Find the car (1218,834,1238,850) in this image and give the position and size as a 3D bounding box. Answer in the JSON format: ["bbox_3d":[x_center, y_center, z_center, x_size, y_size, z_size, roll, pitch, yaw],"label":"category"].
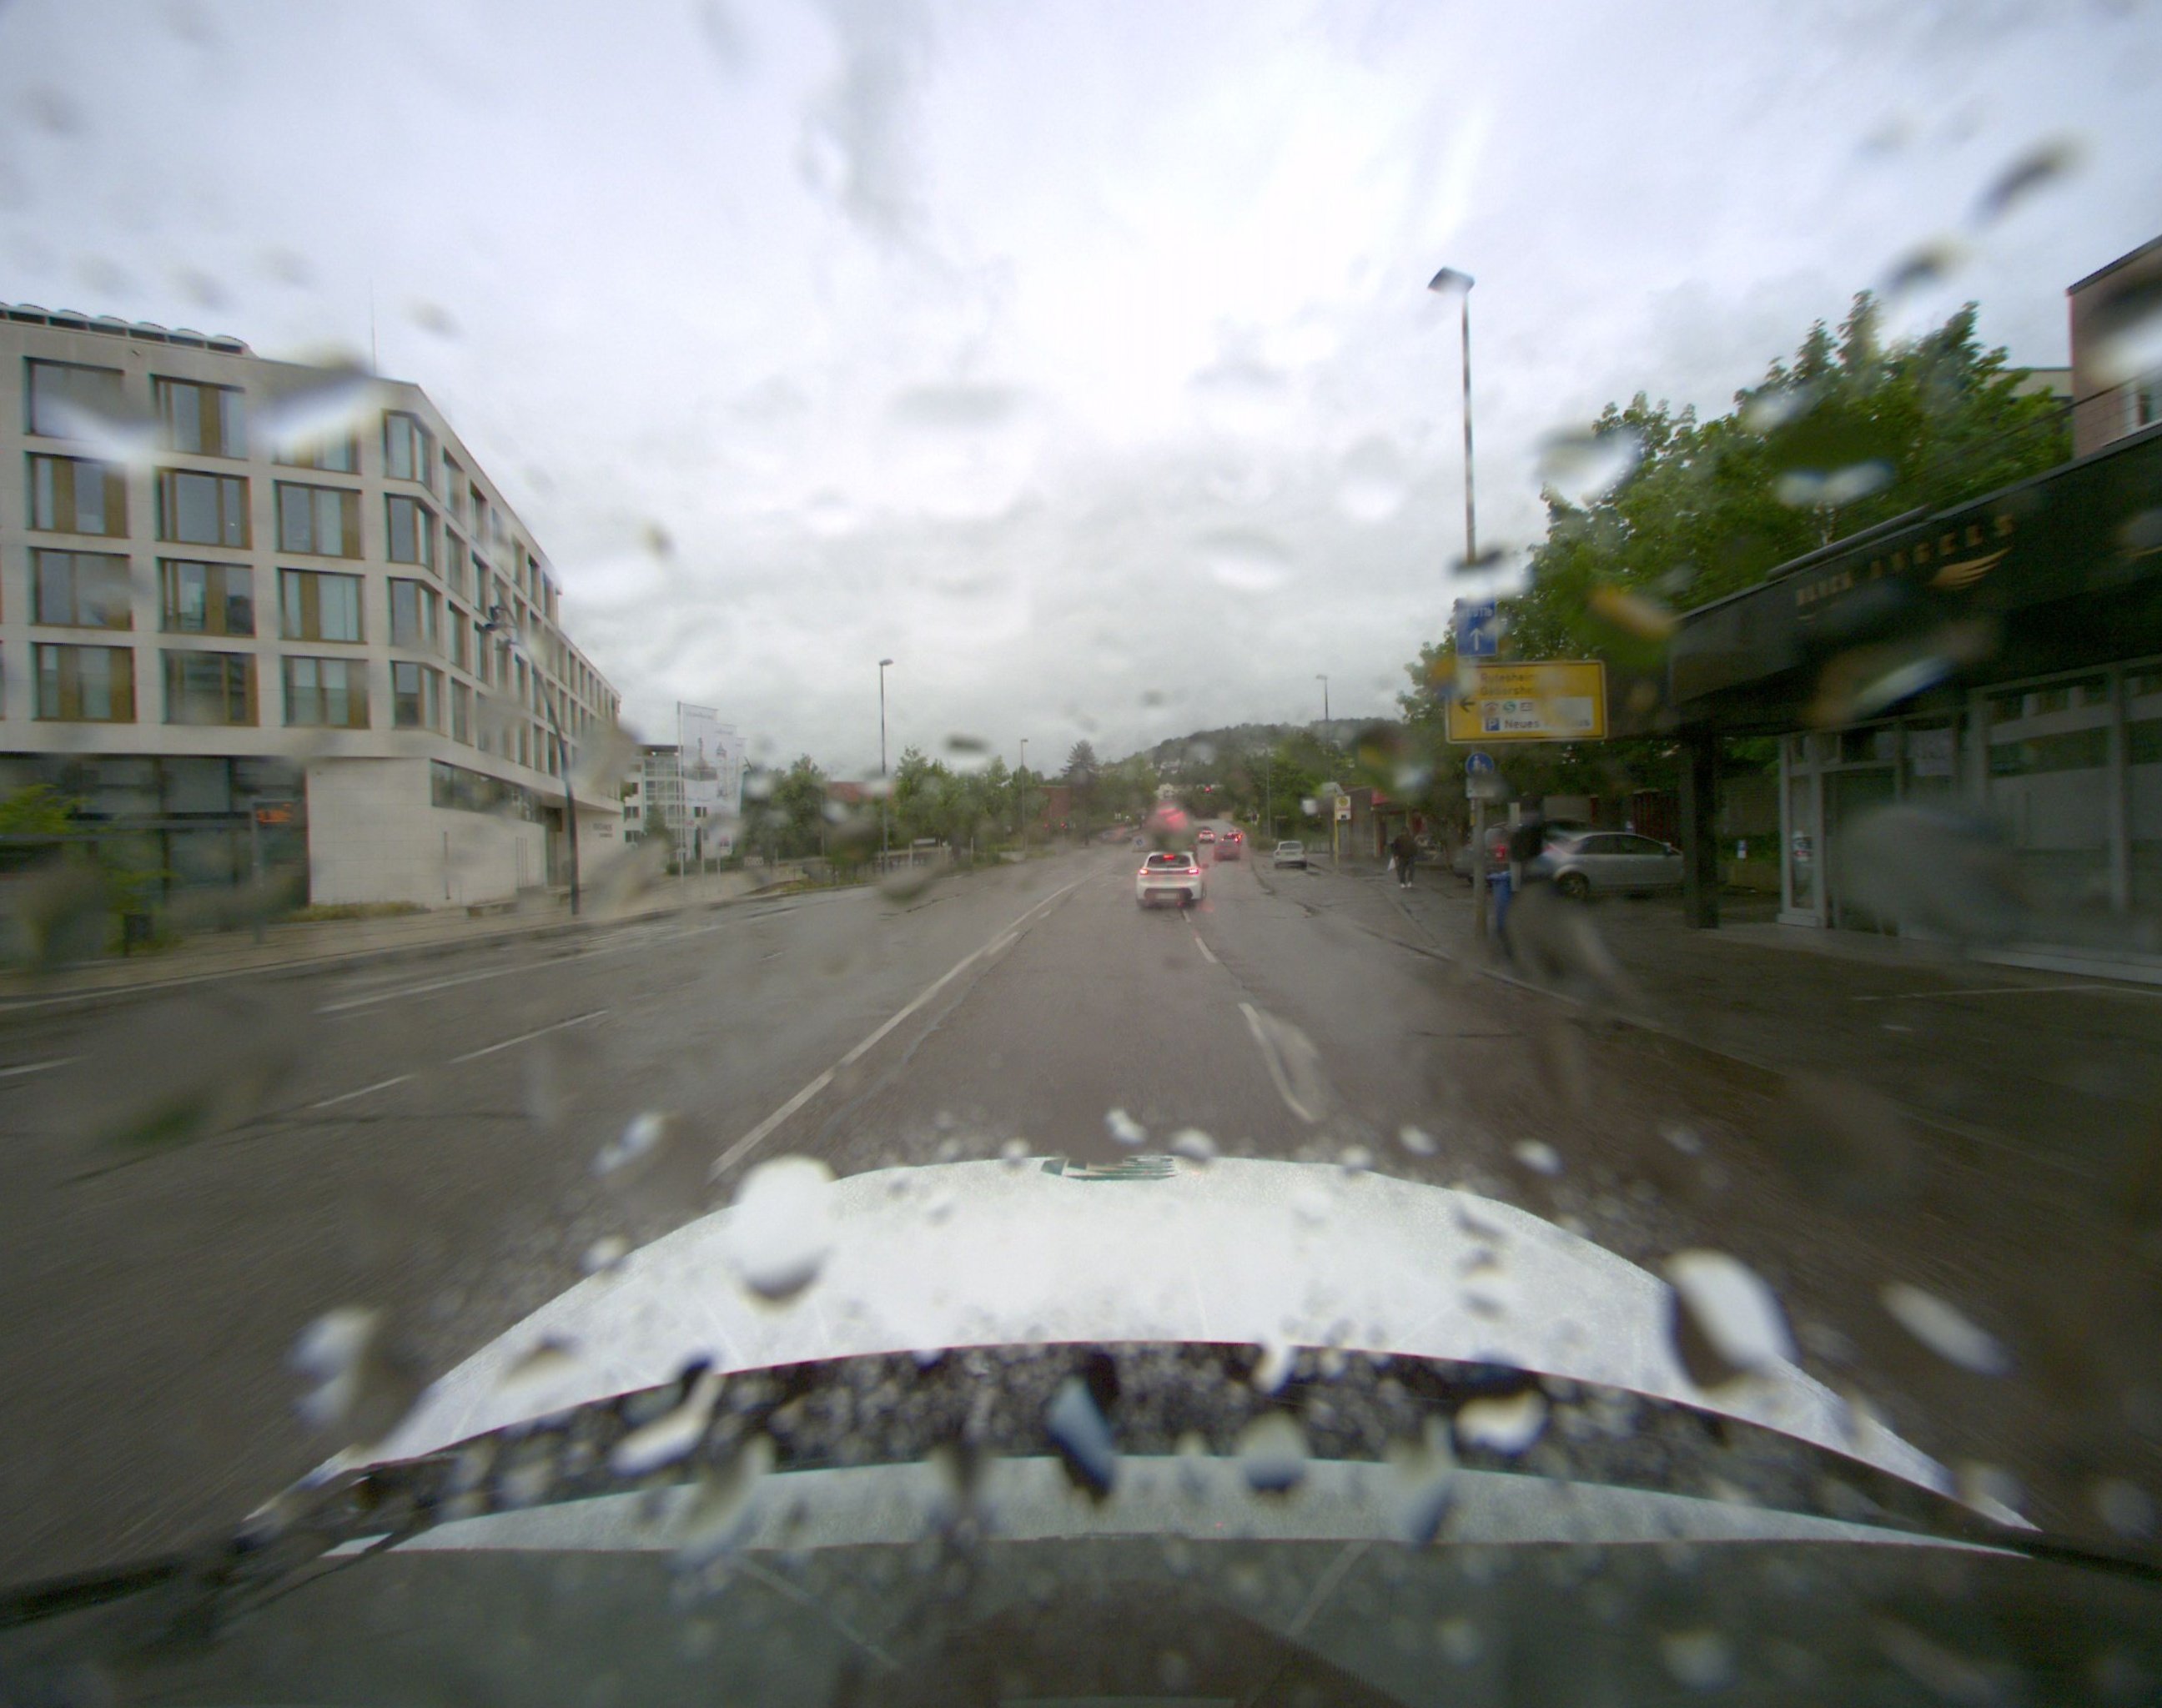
[{"bbox_3d":[15.542,-1.277,86.175,1.641,1.485,3.367,-2,-1,2],"label":"car"}]

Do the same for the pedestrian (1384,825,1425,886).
[{"bbox_3d":[9.804,0.050,24.704,0.711,1.821,0.790,-2,-2,-25],"label":"pedestrian"}]

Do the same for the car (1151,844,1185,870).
[{"bbox_3d":[4.813,0.162,44.670,1.732,1.295,3.340,-2,0,7],"label":"car"}]

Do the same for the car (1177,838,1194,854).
[{"bbox_3d":[8.198,-0.601,64.050,1.207,1.156,2.272,-2,-1,4],"label":"car"}]

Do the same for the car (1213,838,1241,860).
[{"bbox_3d":[10.895,-0.394,60.904,1.725,1.387,3.358,0,3,5],"label":"car"}]

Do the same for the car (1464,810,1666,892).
[{"bbox_3d":[12.479,-0.076,21.237,4.074,1.871,1.880,-3,0,6],"label":"car"}]

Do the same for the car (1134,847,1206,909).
[{"bbox_3d":[2.502,0.568,22.154,1.680,1.519,3.944,0,1,10],"label":"car"}]

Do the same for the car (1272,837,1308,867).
[{"bbox_3d":[11.599,-0.151,45.403,1.719,1.497,4.497,-3,1,13],"label":"car"}]

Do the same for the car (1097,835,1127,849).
[{"bbox_3d":[4.030,-1.572,106.908,3.530,1.569,1.786,-2,-2,-24],"label":"car"}]

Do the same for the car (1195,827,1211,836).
[{"bbox_3d":[17.740,-3.236,118.285,1.353,1.157,2.442,-3,-1,31],"label":"car"}]

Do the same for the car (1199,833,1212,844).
[{"bbox_3d":[15.268,-1.887,99.740,1.378,1.126,2.614,-3,-1,6],"label":"car"}]

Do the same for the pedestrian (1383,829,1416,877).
[{"bbox_3d":[11.940,-0.038,30.532,0.871,1.736,0.760,-3,1,3],"label":"pedestrian"}]

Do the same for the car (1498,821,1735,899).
[{"bbox_3d":[11.596,0.123,17.860,3.967,1.447,1.749,-3,0,6],"label":"car"}]

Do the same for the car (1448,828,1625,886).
[{"bbox_3d":[13.211,0.093,23.819,4.130,1.454,1.804,-2,0,3],"label":"car"}]

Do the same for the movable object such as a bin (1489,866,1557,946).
[{"bbox_3d":[6.453,0.748,11.917,0.633,1.074,0.699,-2,2,4],"label":"movable object such as a bin"}]
